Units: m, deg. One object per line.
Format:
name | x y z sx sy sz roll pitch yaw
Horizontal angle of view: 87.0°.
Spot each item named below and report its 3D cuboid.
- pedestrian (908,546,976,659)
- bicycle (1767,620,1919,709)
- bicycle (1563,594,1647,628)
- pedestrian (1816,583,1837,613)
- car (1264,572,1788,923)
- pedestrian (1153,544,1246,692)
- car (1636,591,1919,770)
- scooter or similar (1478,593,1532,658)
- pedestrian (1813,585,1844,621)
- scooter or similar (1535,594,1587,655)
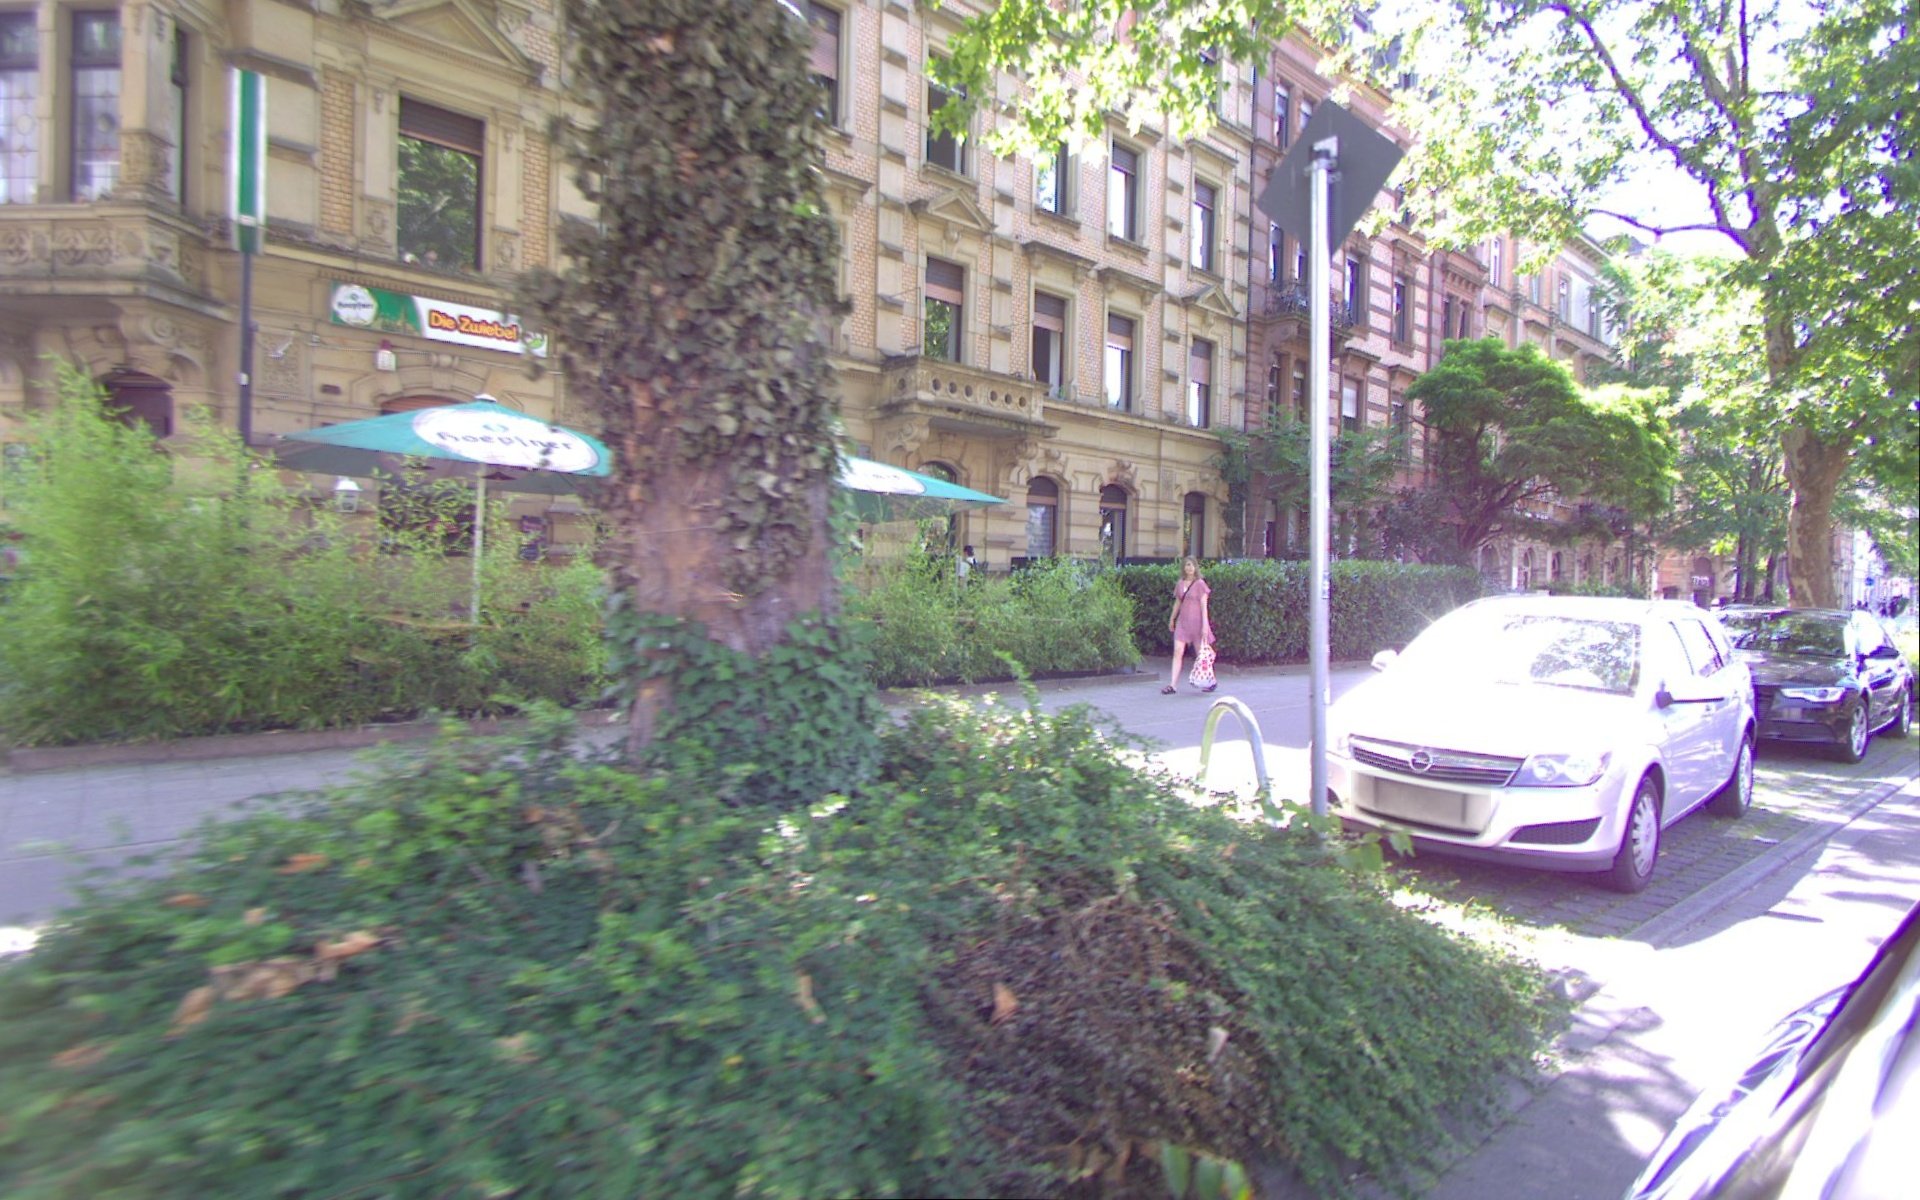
pedestrian | -0.316 0.022 17.541 0.726 1.874 0.851 0 3 -42
bicycle | 12.154 0.866 13.863 1.615 1.102 0.469 2 1 17
bicycle | 24.051 0.396 37.819 2.560 1.125 1.101 2 1 31
pedestrian | 51.197 -0.113 59.806 0.951 1.740 0.796 1 1 -41
car | 3.972 0.634 6.695 4.418 1.527 1.835 0 2 -44
pedestrian | 3.066 0.208 12.947 0.837 1.807 0.737 0 3 -41
car | 9.245 0.710 11.116 4.561 1.527 1.837 0 2 -40
scooter or similar | 11.113 0.502 20.638 1.124 1.263 0.583 0 1 -40
pedestrian | 43.129 0.151 50.265 0.947 1.740 0.799 1 1 -21
scooter or similar | 13.232 0.523 22.275 1.124 1.298 0.583 0 1 -39
